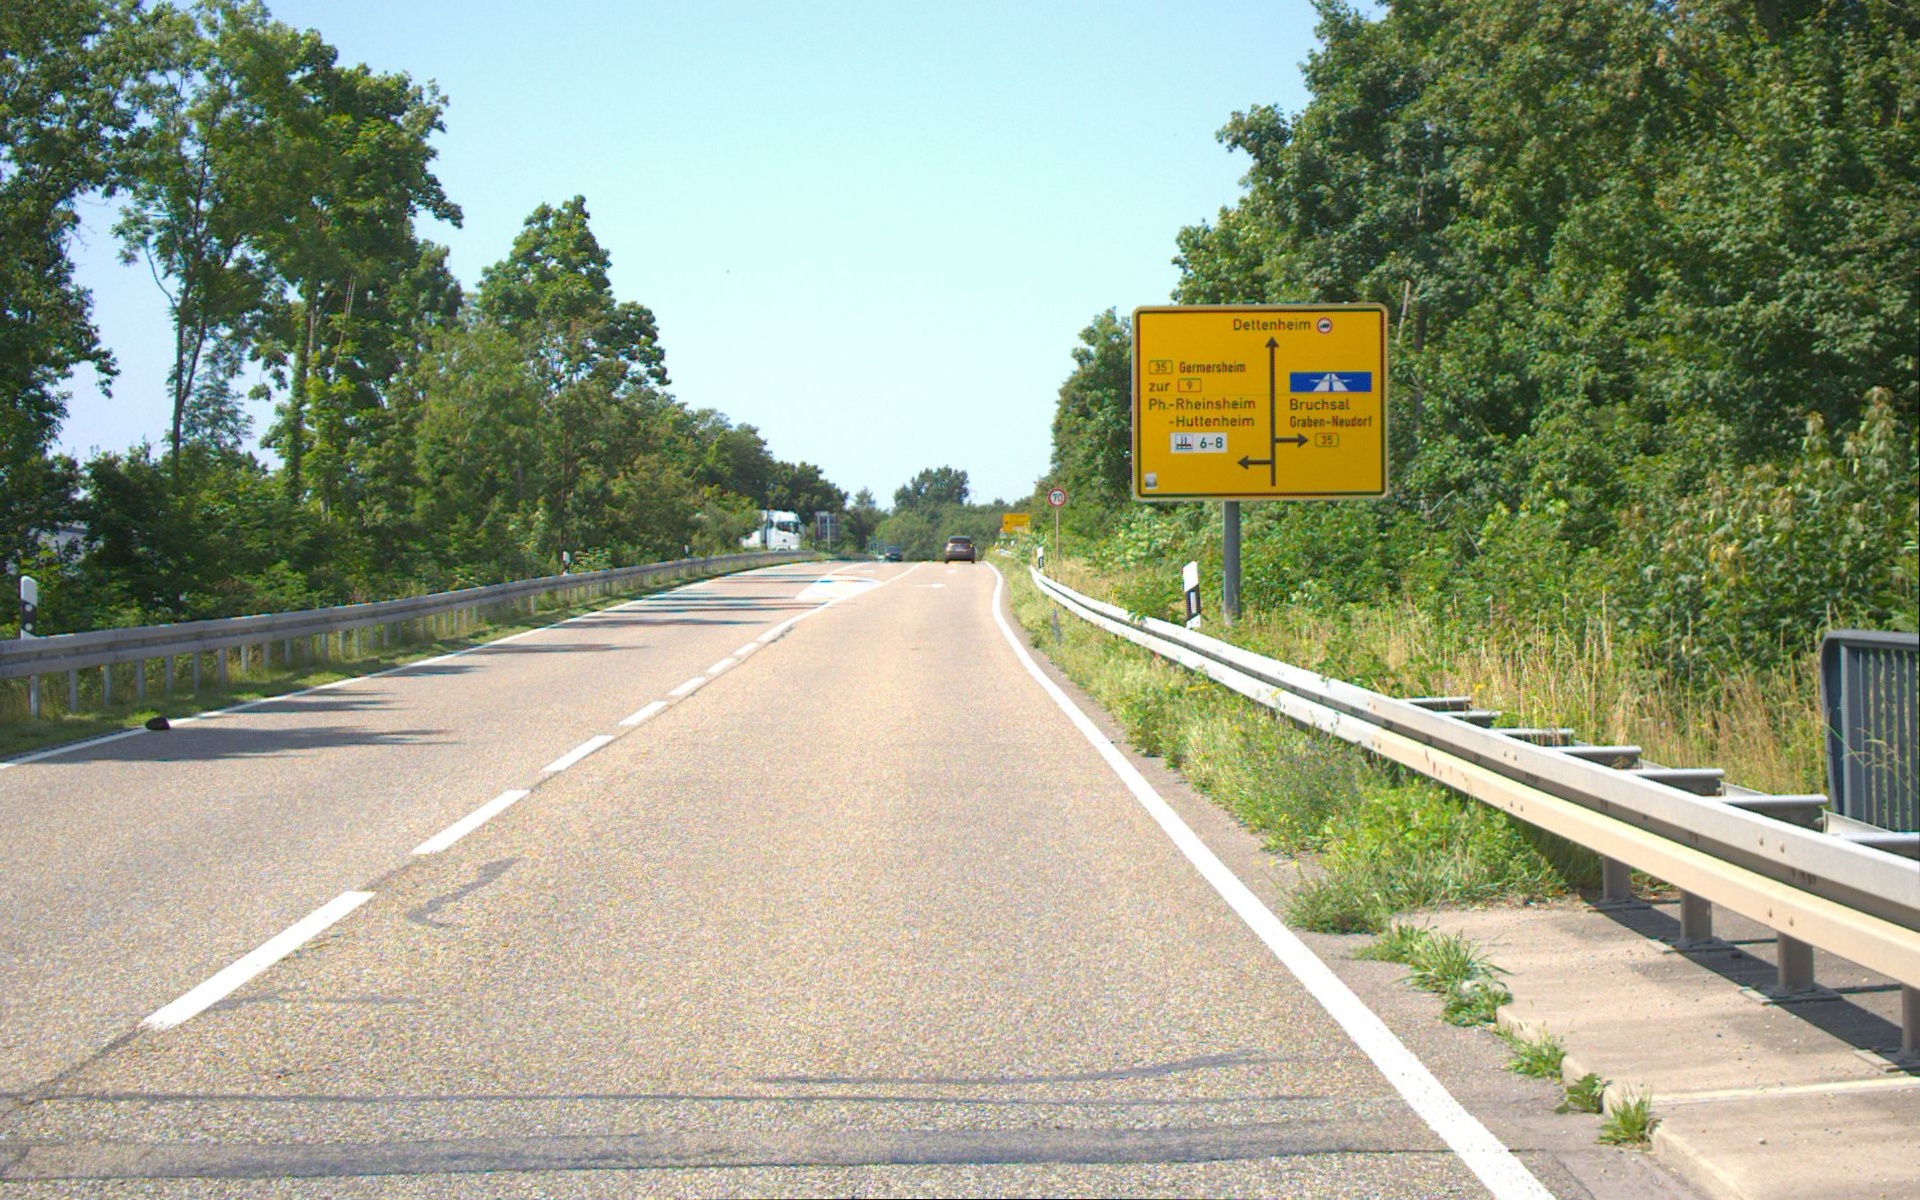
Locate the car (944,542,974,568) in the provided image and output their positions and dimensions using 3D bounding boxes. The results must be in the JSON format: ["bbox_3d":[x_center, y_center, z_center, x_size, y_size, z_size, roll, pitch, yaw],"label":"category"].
[{"bbox_3d":[-0.059,-2.616,197.762,1.741,1.465,3.693,0,1,0],"label":"car"}]
